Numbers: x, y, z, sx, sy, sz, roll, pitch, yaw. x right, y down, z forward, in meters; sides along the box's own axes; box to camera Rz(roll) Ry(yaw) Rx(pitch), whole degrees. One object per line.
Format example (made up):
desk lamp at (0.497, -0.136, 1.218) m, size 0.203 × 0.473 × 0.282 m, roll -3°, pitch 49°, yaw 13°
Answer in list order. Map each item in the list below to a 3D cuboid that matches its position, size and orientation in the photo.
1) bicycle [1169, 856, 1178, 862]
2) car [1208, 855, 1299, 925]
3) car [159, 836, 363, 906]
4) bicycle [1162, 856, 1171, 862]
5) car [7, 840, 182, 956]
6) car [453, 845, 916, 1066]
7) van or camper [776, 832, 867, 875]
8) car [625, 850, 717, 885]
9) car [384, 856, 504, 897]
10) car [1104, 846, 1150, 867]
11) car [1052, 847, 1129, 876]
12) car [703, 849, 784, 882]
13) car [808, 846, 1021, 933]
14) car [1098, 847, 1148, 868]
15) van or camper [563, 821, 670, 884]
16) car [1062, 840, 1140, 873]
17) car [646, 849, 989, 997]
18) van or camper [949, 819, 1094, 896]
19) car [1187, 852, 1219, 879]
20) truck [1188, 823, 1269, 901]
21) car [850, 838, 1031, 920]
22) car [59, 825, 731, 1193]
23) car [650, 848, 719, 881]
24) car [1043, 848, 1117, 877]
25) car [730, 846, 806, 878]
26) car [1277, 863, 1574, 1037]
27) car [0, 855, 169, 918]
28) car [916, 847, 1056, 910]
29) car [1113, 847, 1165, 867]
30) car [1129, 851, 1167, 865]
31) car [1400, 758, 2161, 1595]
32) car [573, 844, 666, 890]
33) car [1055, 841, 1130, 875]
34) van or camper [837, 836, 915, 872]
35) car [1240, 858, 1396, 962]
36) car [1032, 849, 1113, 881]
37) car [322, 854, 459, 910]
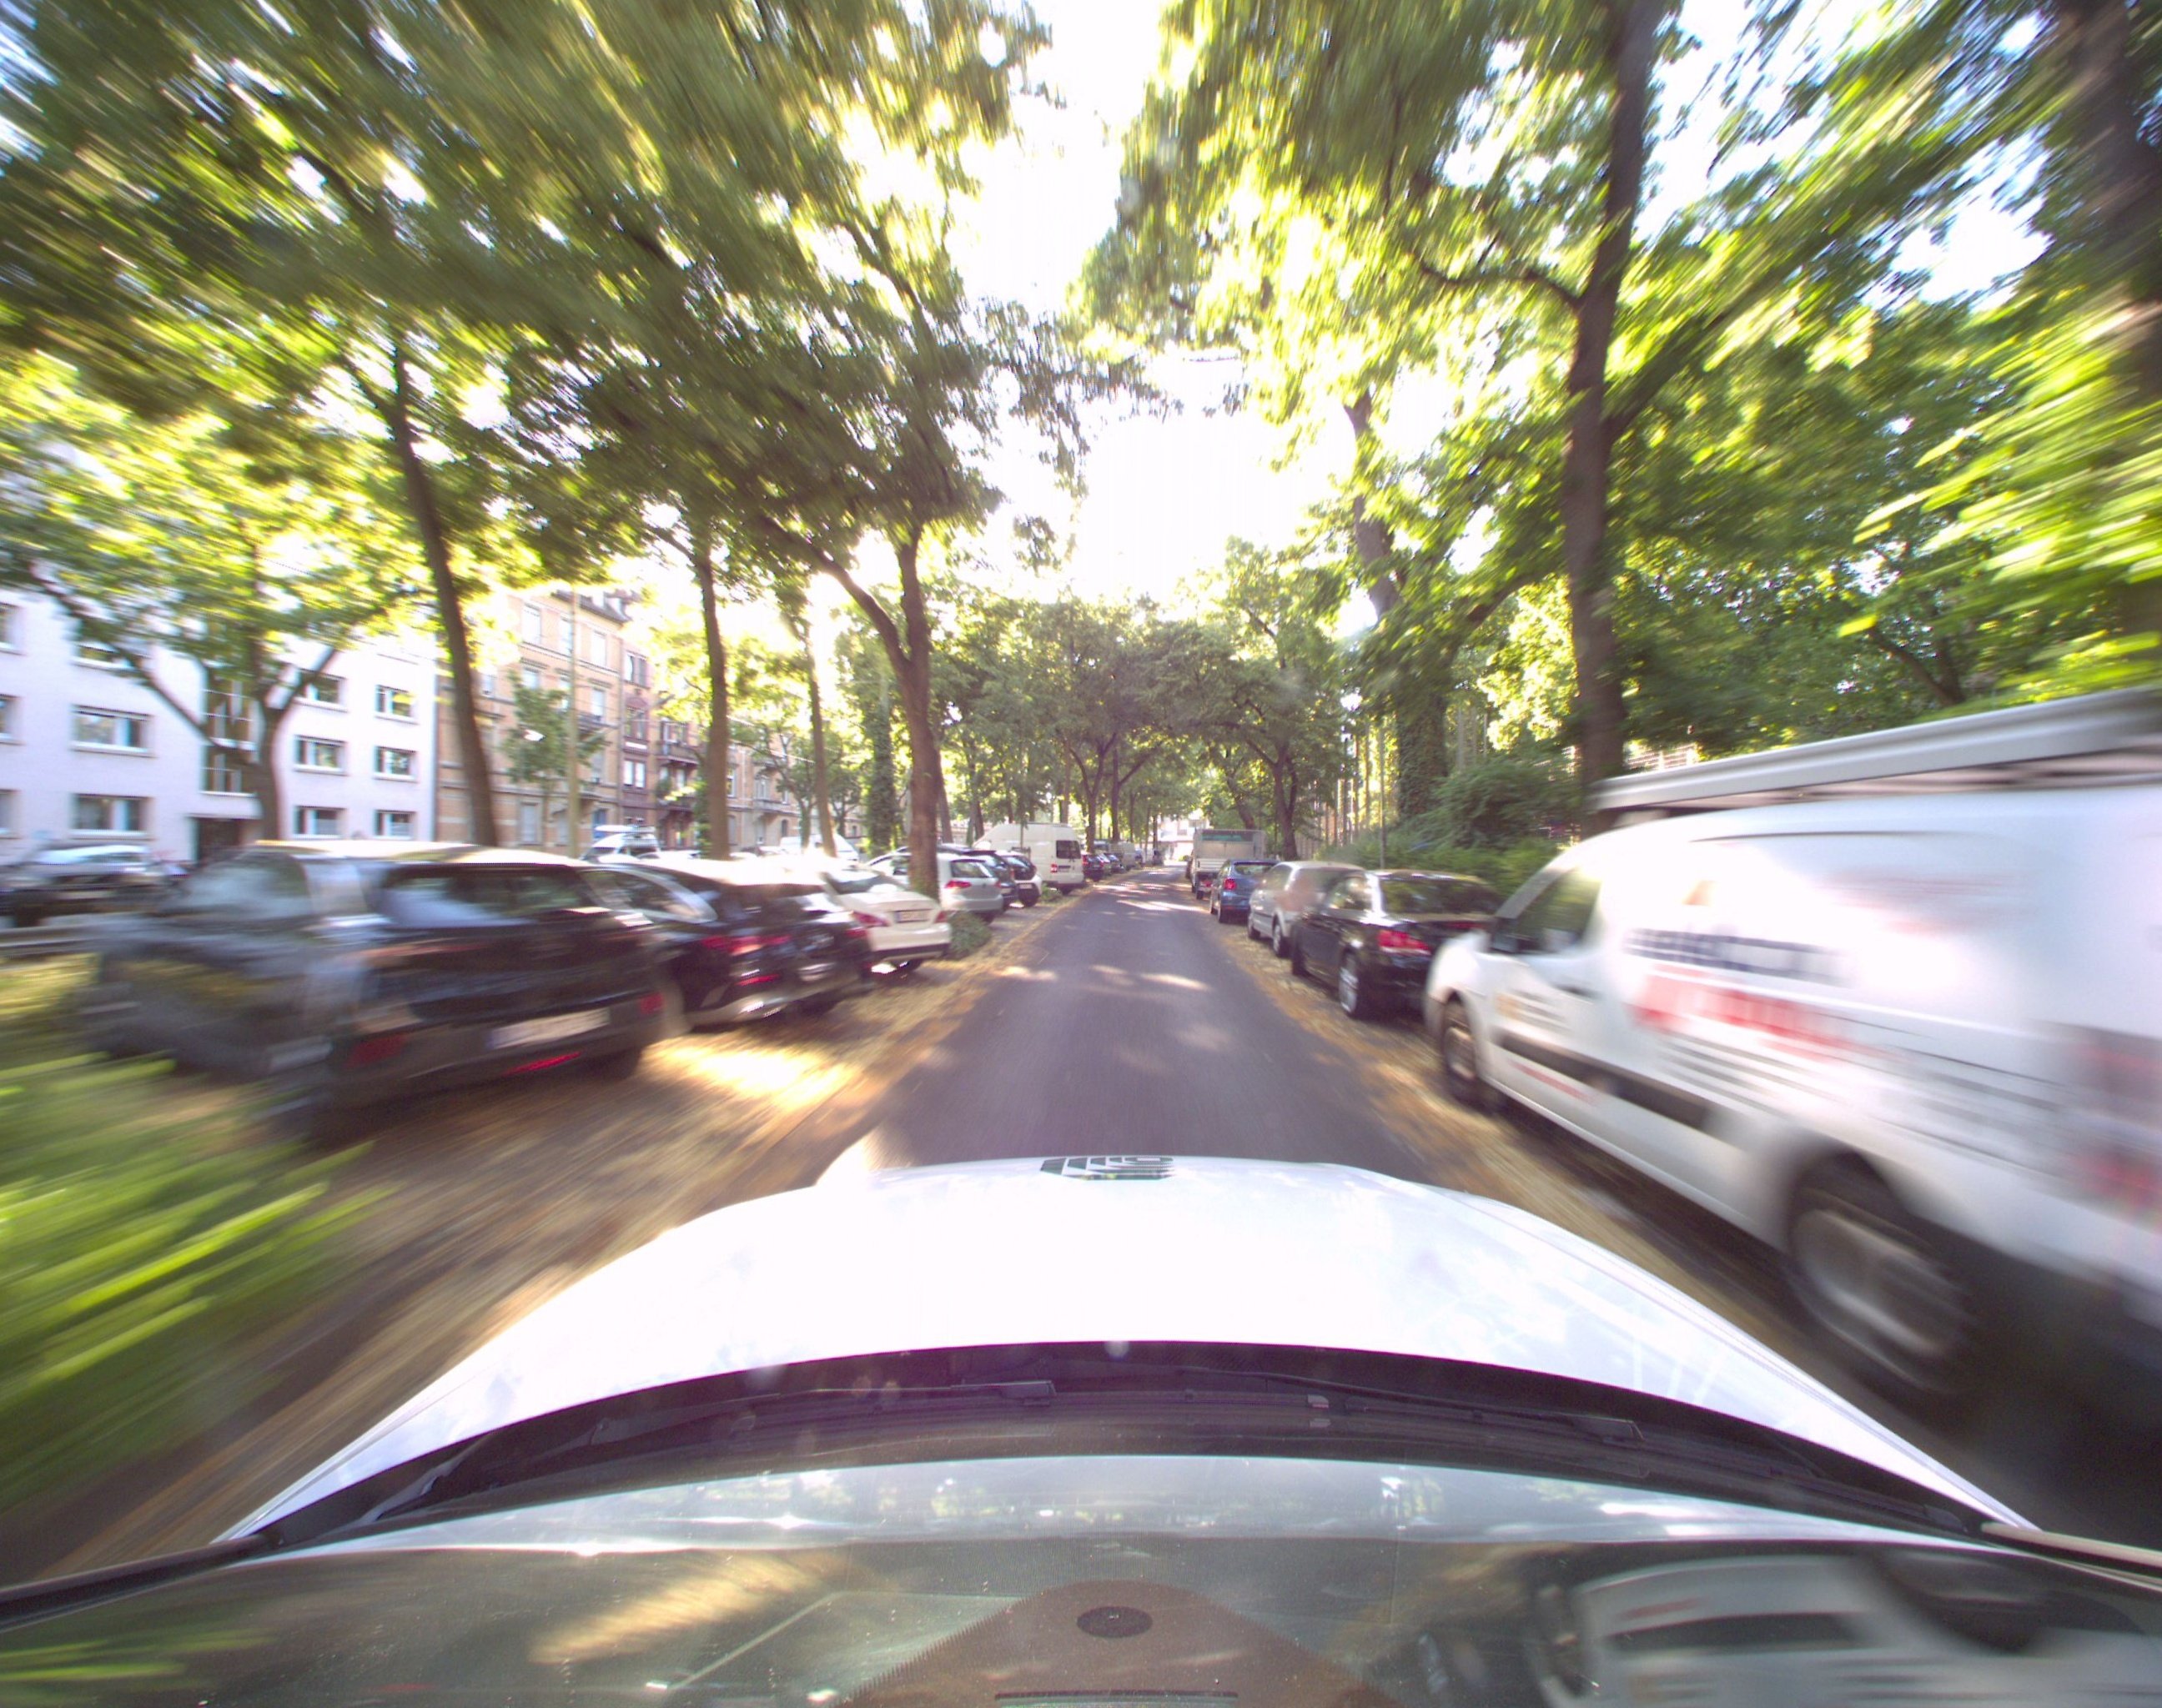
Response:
bicycle at (14.839, 0.757, 130.441) m, size 0.545 × 0.904 × 1.721 m, roll 0°, pitch 0°, yaw -26°
car at (3.965, 0.764, 19.234) m, size 1.664 × 1.458 × 3.899 m, roll 0°, pitch 0°, yaw 5°
car at (-26.351, 0.474, 26.431) m, size 1.841 × 1.993 × 4.426 m, roll 2°, pitch 1°, yaw 6°
bicycle at (13.909, 0.822, 132.259) m, size 0.641 × 1.022 × 2.073 m, roll 0°, pitch 0°, yaw -21°
car at (-19.732, 0.782, 16.458) m, size 4.757 × 2.013 × 2.012 m, roll -1°, pitch 0°, yaw 41°
car at (-3.794, 0.715, 7.614) m, size 4.260 × 1.404 × 1.755 m, roll 3°, pitch 1°, yaw 30°
van or camper at (-15.631, -0.013, 48.902) m, size 5.604 × 2.468 × 2.013 m, roll -1°, pitch 0°, yaw 32°
car at (-17.319, 0.548, 34.354) m, size 3.948 × 1.381 × 1.815 m, roll -1°, pitch 0°, yaw 36°
car at (-25.599, 0.867, 32.880) m, size 1.841 × 1.404 × 3.515 m, roll 2°, pitch 1°, yaw 6°
car at (4.335, 0.252, 77.433) m, size 4.109 × 1.781 × 1.895 m, roll 3°, pitch 0°, yaw 44°
car at (0.526, 0.462, 50.400) m, size 4.514 × 1.540 × 1.946 m, roll 3°, pitch 0°, yaw 41°
car at (-16.918, 0.580, 40.750) m, size 4.268 × 1.385 × 1.919 m, roll -4°, pitch -2°, yaw 40°
car at (-3.525, 0.667, 17.020) m, size 4.190 × 1.440 × 1.868 m, roll 3°, pitch 0°, yaw 33°
car at (3.825, 0.293, 74.243) m, size 4.108 × 1.644 × 1.927 m, roll 3°, pitch 0°, yaw 40°
van or camper at (-24.615, -0.085, 43.425) m, size 2.063 × 3.109 × 5.524 m, roll 0°, pitch 0°, yaw 6°
car at (1.445, 0.139, 59.489) m, size 5.444 × 2.137 × 2.094 m, roll 3°, pitch 0°, yaw 38°
car at (-3.547, 0.732, 10.678) m, size 4.409 × 1.404 × 1.868 m, roll 3°, pitch 1°, yaw 33°
van or camper at (-2.160, 0.094, 29.073) m, size 4.824 × 2.470 × 2.058 m, roll 3°, pitch 0°, yaw 34°
car at (6.870, 0.627, 46.157) m, size 1.663 × 1.454 × 3.957 m, roll 0°, pitch 0°, yaw 7°
truck at (4.946, 0.239, 28.278) m, size 2.284 × 2.386 × 6.946 m, roll 0°, pitch 0°, yaw 6°
car at (-3.435, 0.547, 19.833) m, size 3.990 × 1.662 × 1.868 m, roll 3°, pitch 0°, yaw 30°
car at (-4.533, 0.653, 5.364) m, size 3.950 × 1.512 × 1.972 m, roll 3°, pitch 1°, yaw 27°
car at (-23.870, 0.609, 49.173) m, size 1.841 × 1.782 × 3.924 m, roll 2°, pitch 1°, yaw 6°
car at (-0.088, 0.489, 47.775) m, size 4.042 × 1.488 × 1.795 m, roll 3°, pitch 0°, yaw 39°
car at (-16.598, 0.413, 43.105) m, size 4.269 × 1.582 × 1.918 m, roll -1°, pitch 0°, yaw 41°
car at (3.401, 0.831, 8.966) m, size 1.665 × 1.390 × 4.269 m, roll 0°, pitch 0°, yaw 3°
car at (-26.999, 0.800, 21.438) m, size 1.841 × 1.404 × 3.515 m, roll 2°, pitch 1°, yaw 6°
car at (-2.660, 0.645, 22.674) m, size 3.505 × 1.493 × 1.837 m, roll 3°, pitch 0°, yaw 37°
car at (5.877, 0.290, 83.267) m, size 4.938 × 1.781 × 2.000 m, roll 3°, pitch 0°, yaw 36°
car at (8.031, 0.448, 97.924) m, size 4.147 × 1.439 × 1.843 m, roll 3°, pitch 0°, yaw 34°
car at (3.175, 0.656, 3.821) m, size 1.780 × 1.707 × 4.379 m, roll 0°, pitch 0°, yaw 2°
car at (-17.764, 0.478, 31.286) m, size 3.948 × 1.647 × 1.749 m, roll -1°, pitch 0°, yaw 39°
car at (0.718, 0.244, 53.167) m, size 4.654 × 1.942 × 1.946 m, roll 3°, pitch 0°, yaw 41°
van or camper at (-14.585, 0.022, 57.741) m, size 5.480 × 2.371 × 2.322 m, roll -1°, pitch 0°, yaw 35°
car at (3.749, 0.804, 13.537) m, size 1.665 × 1.458 × 3.896 m, roll 0°, pitch 0°, yaw 3°
car at (-0.458, 0.544, 41.019) m, size 3.777 × 1.439 × 1.836 m, roll 3°, pitch 0°, yaw 42°
car at (-19.117, 0.713, 22.514) m, size 3.948 × 1.427 × 1.783 m, roll 0°, pitch 0°, yaw 32°
